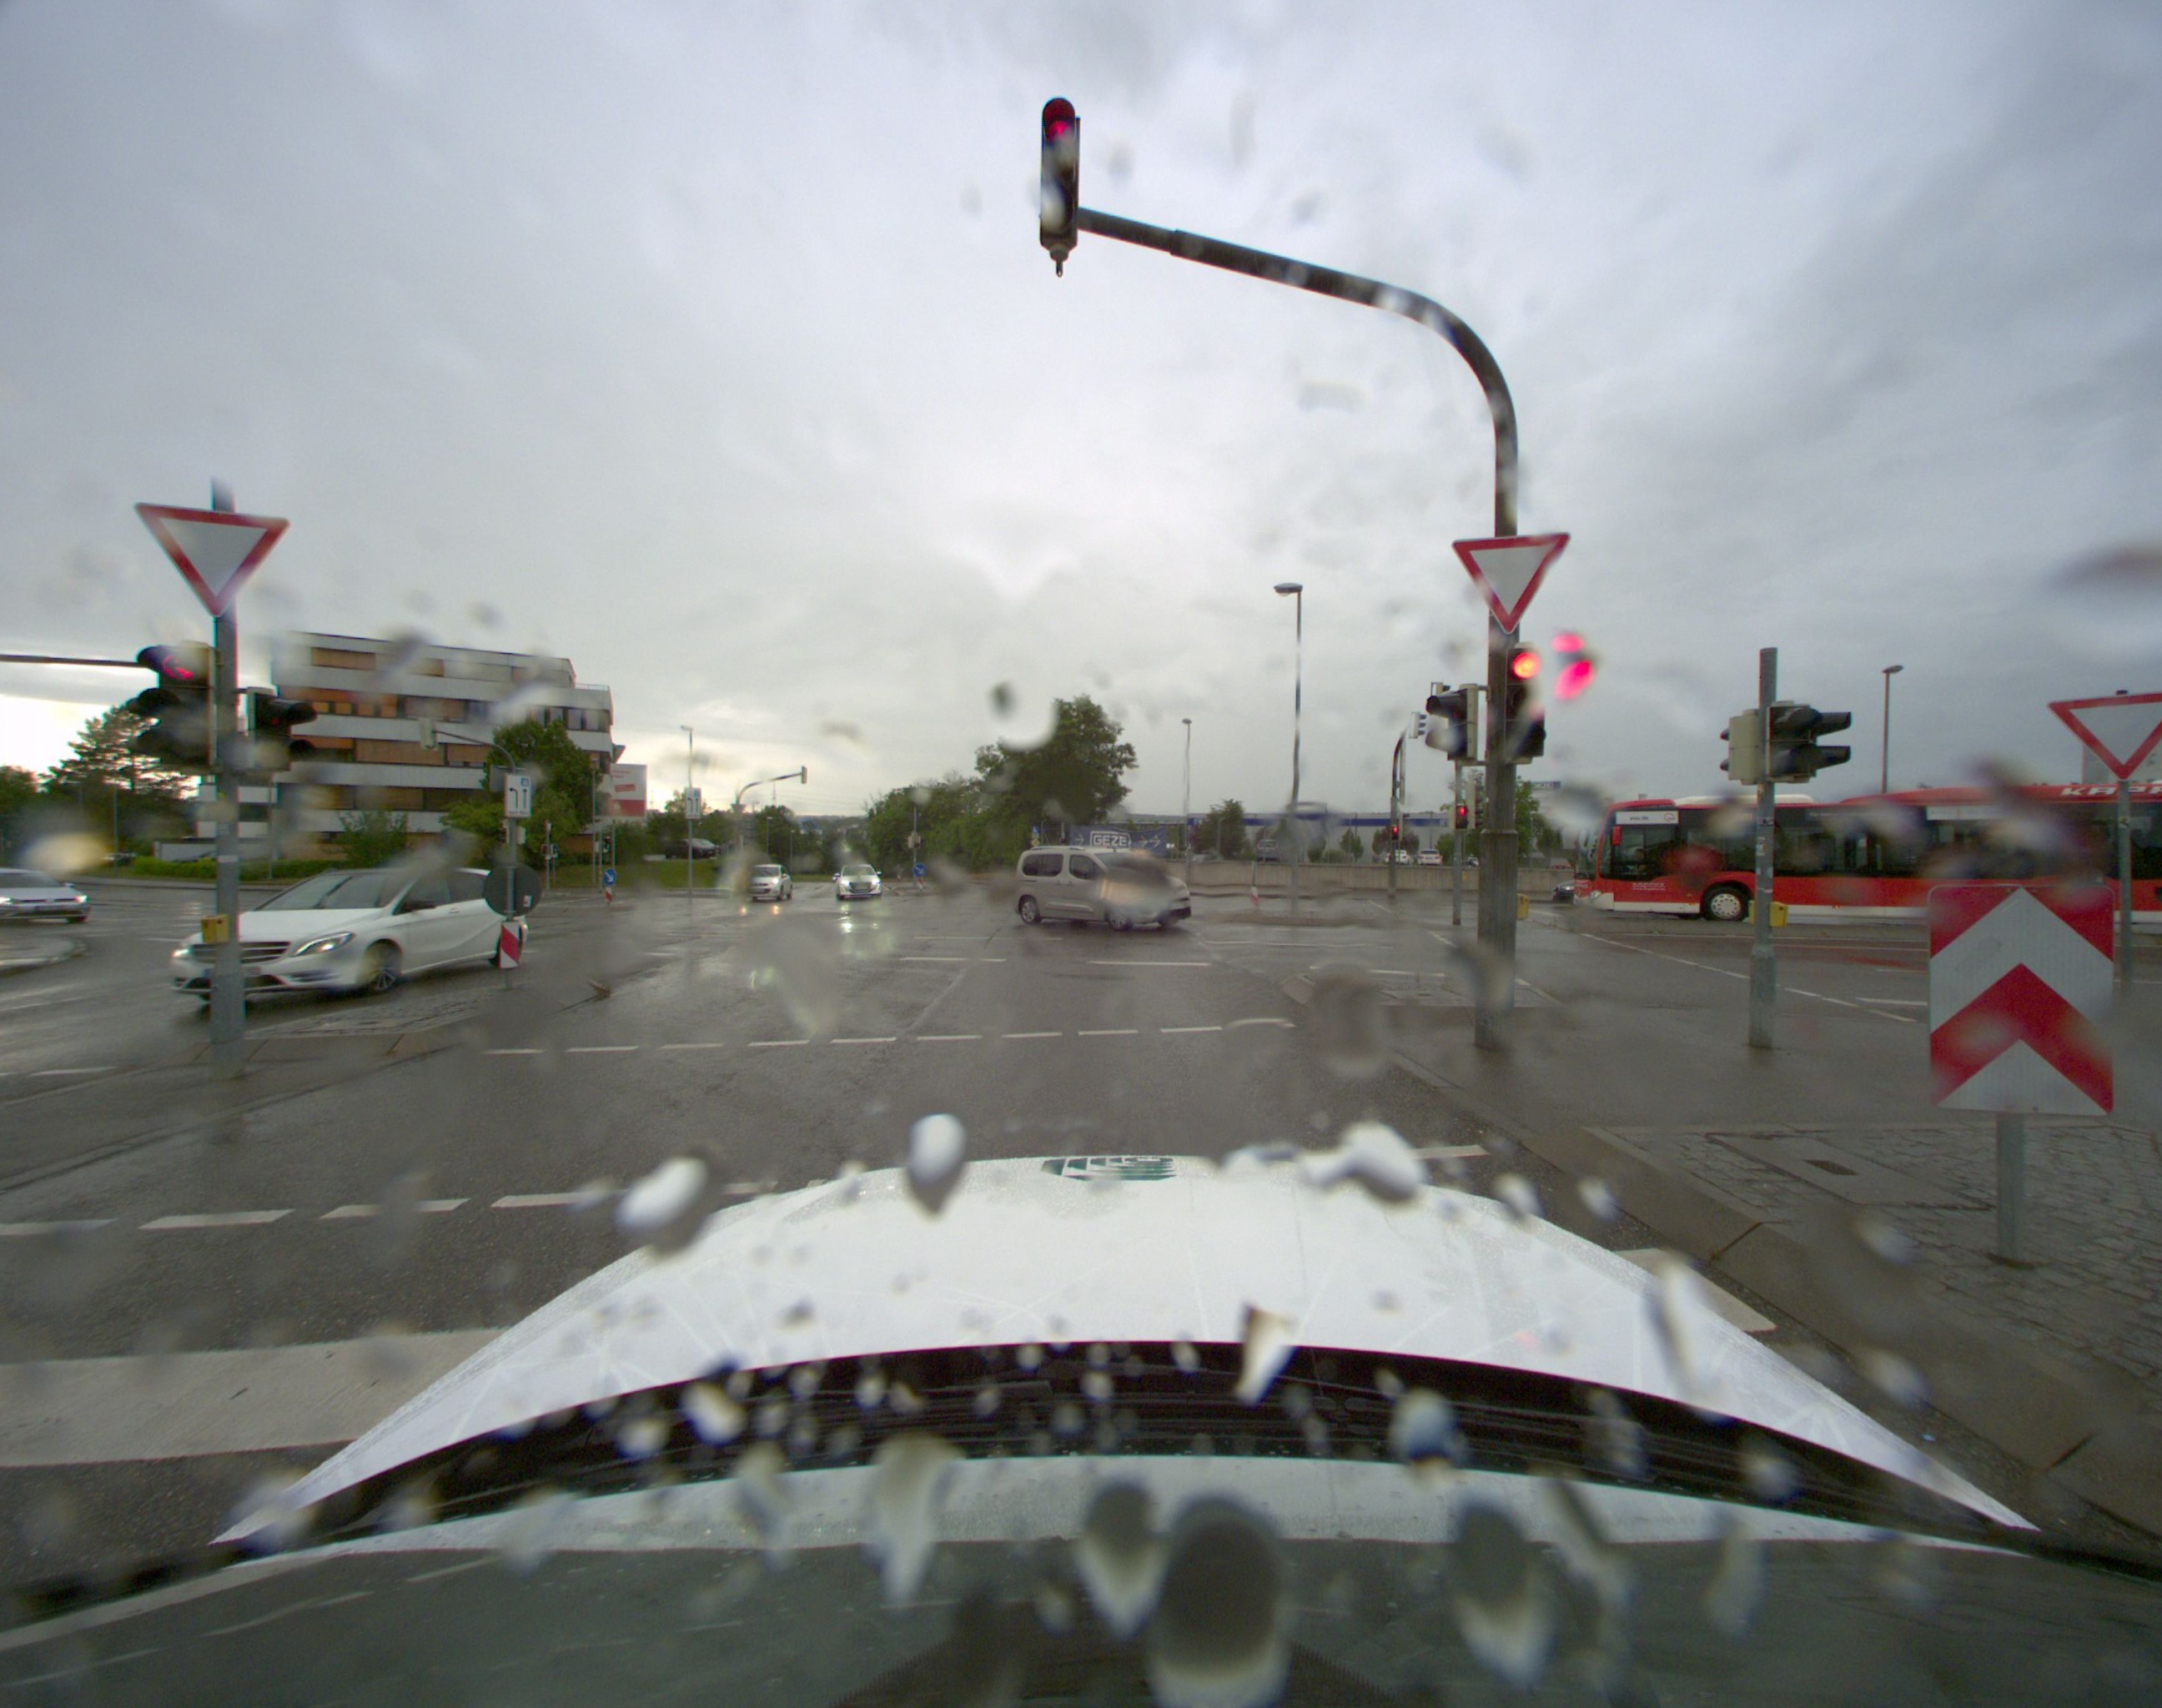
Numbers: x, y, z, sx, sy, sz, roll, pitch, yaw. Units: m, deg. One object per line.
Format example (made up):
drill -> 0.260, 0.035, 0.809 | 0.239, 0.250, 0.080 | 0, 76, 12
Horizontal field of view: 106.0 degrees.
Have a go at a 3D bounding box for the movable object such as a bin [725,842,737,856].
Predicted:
movable object such as a bin -> -37.765, -0.521, 87.886 | 1.089, 1.437, 1.434 | 1, -3, -25

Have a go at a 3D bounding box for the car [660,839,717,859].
car -> -33.431, -0.431, 69.351 | 3.962, 1.586, 1.907 | 0, -2, 10

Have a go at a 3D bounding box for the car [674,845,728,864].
car -> -33.764, 0.047, 72.329 | 3.958, 1.586, 1.909 | 0, -2, 14

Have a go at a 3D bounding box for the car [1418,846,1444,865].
car -> 28.897, 0.138, 67.199 | 1.841, 1.526, 4.127 | -1, -1, 25

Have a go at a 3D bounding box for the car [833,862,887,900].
car -> -9.530, 1.121, 34.900 | 1.872, 1.508, 3.952 | 0, -1, -21

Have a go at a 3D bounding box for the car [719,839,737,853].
car -> -41.547, -0.906, 95.738 | 1.836, 1.442, 3.967 | 1, -2, -25

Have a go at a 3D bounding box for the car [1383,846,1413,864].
car -> 26.469, 0.116, 67.888 | 1.800, 1.434, 4.128 | -1, -1, 28

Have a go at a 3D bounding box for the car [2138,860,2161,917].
car -> 31.679, 0.956, 21.491 | 4.344, 1.538, 1.834 | 0, 0, 18

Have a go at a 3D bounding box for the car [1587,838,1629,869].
car -> 35.386, -0.035, 54.747 | 1.727, 2.014, 3.844 | -1, -1, 23

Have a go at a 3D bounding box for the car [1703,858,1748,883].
car -> 53.021, 1.327, 67.075 | 1.976, 2.014, 4.022 | -1, -1, 24

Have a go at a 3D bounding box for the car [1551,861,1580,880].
car -> 43.176, 1.442, 72.641 | 1.905, 1.589, 3.811 | 0, 0, 25

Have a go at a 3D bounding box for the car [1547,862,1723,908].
car -> 17.642, 0.963, 26.158 | 4.344, 1.354, 1.834 | 0, 0, 18

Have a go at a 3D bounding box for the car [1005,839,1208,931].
car -> 0.480, 0.640, 18.474 | 2.012, 1.844, 4.428 | 0, -1, -45

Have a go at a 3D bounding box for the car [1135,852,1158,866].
car -> 7.761, 0.586, 95.905 | 1.651, 1.606, 3.550 | -1, -1, 23

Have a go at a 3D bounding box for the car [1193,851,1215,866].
car -> 13.946, 0.512, 92.451 | 1.651, 1.606, 3.550 | -1, -1, 23

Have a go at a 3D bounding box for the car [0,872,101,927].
car -> -28.730, 1.173, 21.802 | 4.479, 1.363, 1.771 | -1, -1, 20

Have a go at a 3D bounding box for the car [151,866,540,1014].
car -> -9.433, 0.958, 11.041 | 1.663, 1.505, 4.312 | -2, 0, -7

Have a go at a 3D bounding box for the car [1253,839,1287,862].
car -> 13.349, -0.238, 57.288 | 1.727, 1.553, 3.550 | -1, -1, 23

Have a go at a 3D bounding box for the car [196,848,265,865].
car -> -70.118, 0.184, 67.219 | 3.779, 1.399, 1.977 | 0, 0, -40

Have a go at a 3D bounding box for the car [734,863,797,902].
car -> -13.439, 1.168, 34.878 | 1.619, 1.505, 3.811 | -2, 0, -8

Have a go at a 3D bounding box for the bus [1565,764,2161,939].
bus -> 18.777, -0.149, 19.305 | 12.152, 3.576, 3.001 | 2, 0, 19

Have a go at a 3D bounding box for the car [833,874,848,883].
car -> -41.316, 4.237, 140.022 | 1.659, 1.494, 3.991 | 0, -1, -6
